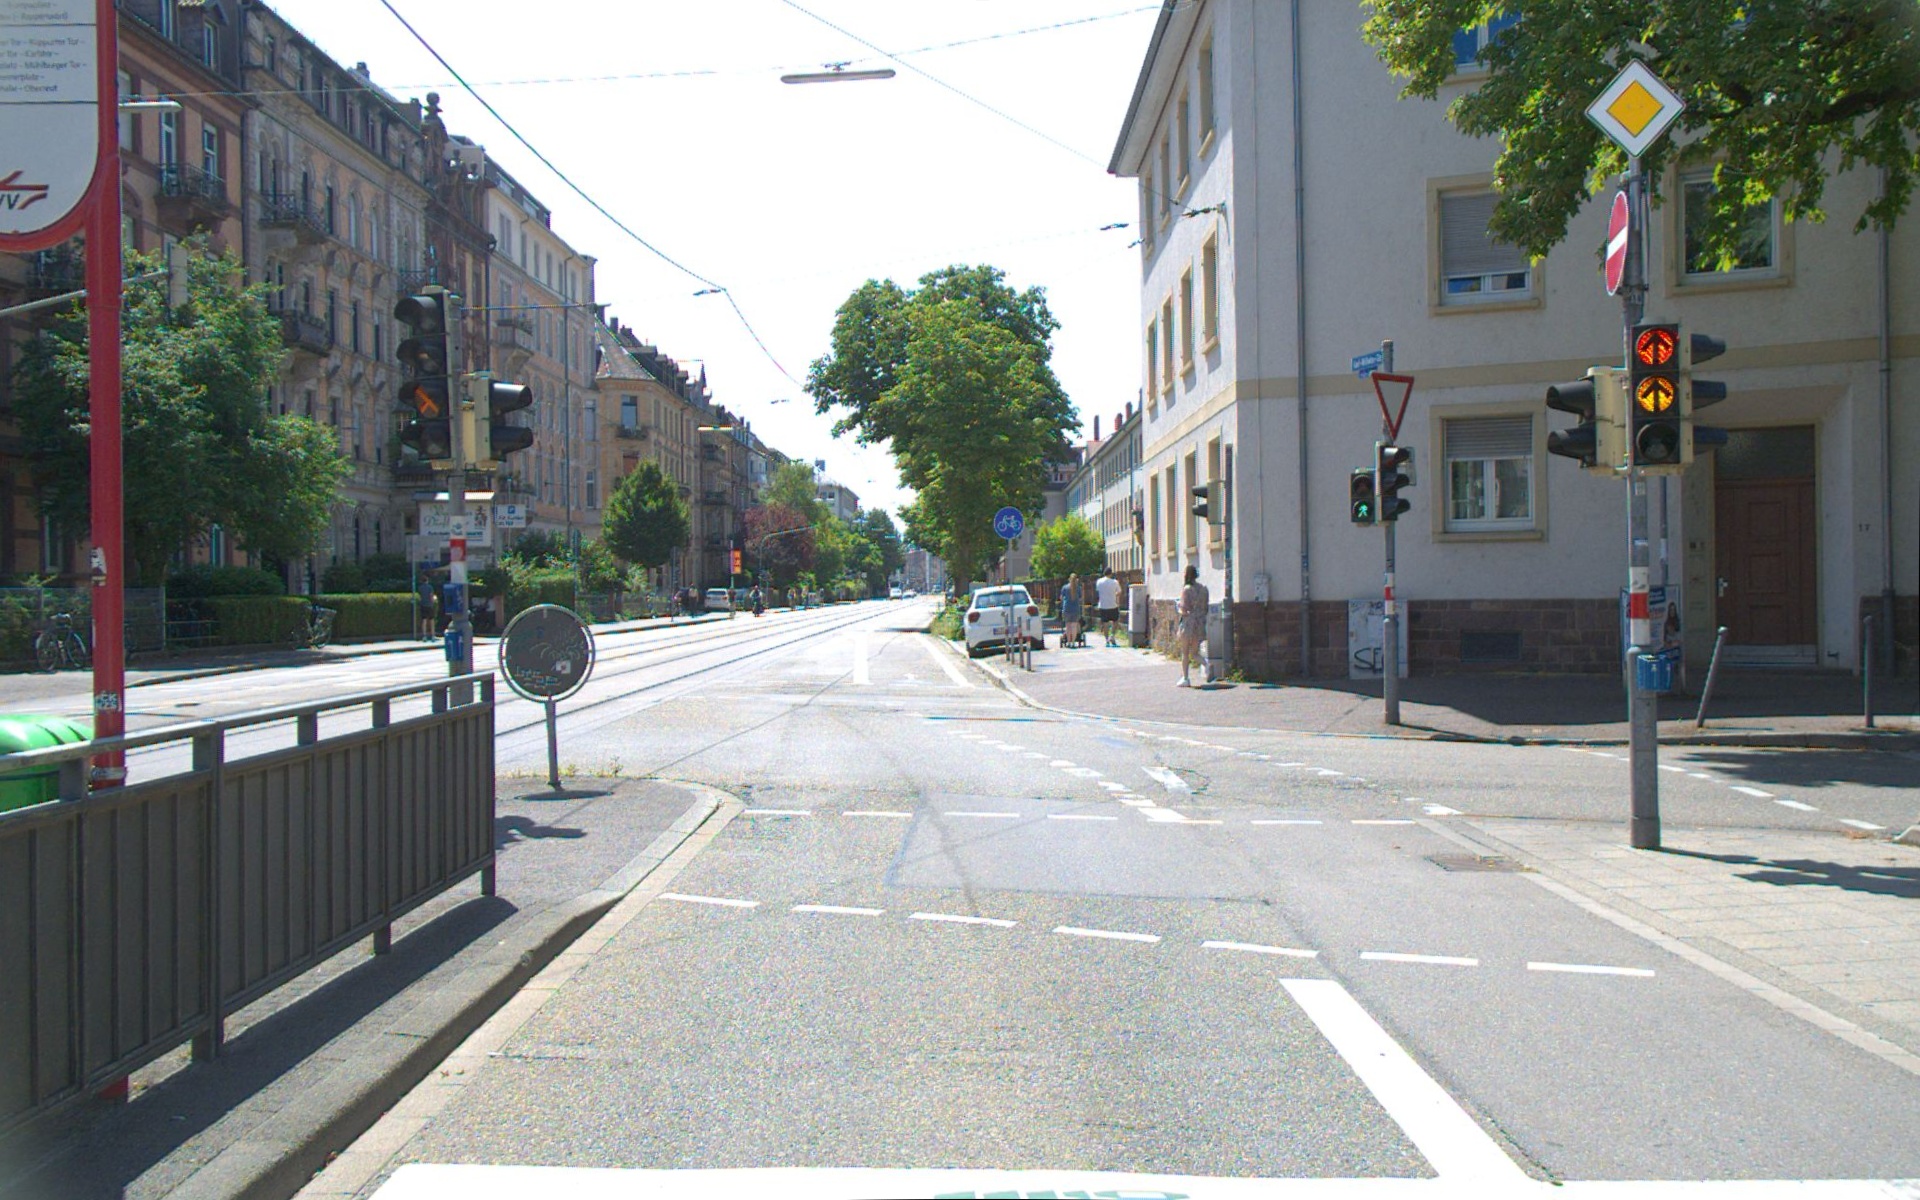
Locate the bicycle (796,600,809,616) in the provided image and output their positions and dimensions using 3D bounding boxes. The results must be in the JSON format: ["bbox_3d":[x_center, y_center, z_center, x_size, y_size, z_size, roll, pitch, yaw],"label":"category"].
[{"bbox_3d":[-11.506,0.613,121.086,0.712,1.142,2.085,1,0,1],"label":"bicycle"}]

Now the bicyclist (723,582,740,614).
[{"bbox_3d":[-11.960,-0.095,86.713,0.712,1.657,1.079,1,0,1],"label":"bicyclist"}]

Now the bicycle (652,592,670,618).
[{"bbox_3d":[-15.279,0.254,84.422,0.664,1.301,1.917,-1,0,-4],"label":"bicycle"}]

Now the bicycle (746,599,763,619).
[{"bbox_3d":[-12.063,0.515,97.115,0.712,1.142,2.085,1,0,1],"label":"bicycle"}]

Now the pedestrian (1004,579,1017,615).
[{"bbox_3d":[2.201,-0.127,72.617,0.511,1.590,0.573,-1,0,-1],"label":"pedestrian"}]

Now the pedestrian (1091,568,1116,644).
[{"bbox_3d":[3.197,0.126,36.851,0.545,1.674,0.677,1,-1,5],"label":"pedestrian"}]

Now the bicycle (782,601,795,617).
[{"bbox_3d":[-12.568,0.627,121.139,0.712,1.142,2.085,1,0,1],"label":"bicycle"}]

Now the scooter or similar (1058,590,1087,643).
[{"bbox_3d":[2.550,0.362,37.474,0.545,1.175,1.206,1,0,9],"label":"scooter or similar"}]

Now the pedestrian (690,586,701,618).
[{"bbox_3d":[-14.047,0.083,87.828,0.510,1.688,0.529,-1,0,-1],"label":"pedestrian"}]

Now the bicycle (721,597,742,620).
[{"bbox_3d":[-11.970,0.439,86.701,0.712,1.142,2.085,1,0,1],"label":"bicycle"}]

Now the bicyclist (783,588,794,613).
[{"bbox_3d":[-12.554,0.040,121.104,0.712,1.850,1.079,1,0,1],"label":"bicyclist"}]

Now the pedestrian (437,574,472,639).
[{"bbox_3d":[-14.756,0.180,48.286,0.800,1.854,0.872,1,1,-7],"label":"pedestrian"}]

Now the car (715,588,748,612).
[{"bbox_3d":[-17.049,-0.015,123.561,1.880,1.745,3.999,1,0,-1],"label":"car"}]

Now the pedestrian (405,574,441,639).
[{"bbox_3d":[-15.474,0.184,47.683,0.800,1.854,0.872,1,1,-7],"label":"pedestrian"}]

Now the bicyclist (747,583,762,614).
[{"bbox_3d":[-12.051,-0.084,97.186,0.712,1.799,1.079,1,0,1],"label":"bicyclist"}]

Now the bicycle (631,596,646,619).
[{"bbox_3d":[-15.502,0.339,79.775,0.665,1.083,1.913,-1,0,-12],"label":"bicycle"}]

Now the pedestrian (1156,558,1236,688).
[{"bbox_3d":[3.303,0.305,23.250,0.640,1.719,1.054,-6,3,-13],"label":"pedestrian"}]

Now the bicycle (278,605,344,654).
[{"bbox_3d":[-15.869,0.700,40.505,0.920,1.156,2.767,1,0,-9],"label":"bicycle"}]

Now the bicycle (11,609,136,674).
[{"bbox_3d":[-16.714,0.758,31.292,0.918,1.156,2.773,1,0,-2],"label":"bicycle"}]

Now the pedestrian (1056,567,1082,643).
[{"bbox_3d":[2.413,0.112,36.540,0.545,1.674,0.677,1,-1,5],"label":"pedestrian"}]

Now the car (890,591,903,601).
[{"bbox_3d":[-8.623,-0.593,224.971,1.671,1.300,3.999,1,0,-1],"label":"car"}]

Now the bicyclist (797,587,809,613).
[{"bbox_3d":[-11.512,-0.006,121.164,0.712,1.850,1.079,1,0,1],"label":"bicyclist"}]

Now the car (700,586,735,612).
[{"bbox_3d":[-16.880,-0.047,115.300,1.880,1.745,3.999,1,0,-1],"label":"car"}]

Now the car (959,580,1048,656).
[{"bbox_3d":[0.927,0.399,37.306,1.778,1.542,3.999,-3,0,-1],"label":"car"}]

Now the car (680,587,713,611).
[{"bbox_3d":[-19.680,-0.060,123.594,1.880,1.745,3.999,1,0,-1],"label":"car"}]
